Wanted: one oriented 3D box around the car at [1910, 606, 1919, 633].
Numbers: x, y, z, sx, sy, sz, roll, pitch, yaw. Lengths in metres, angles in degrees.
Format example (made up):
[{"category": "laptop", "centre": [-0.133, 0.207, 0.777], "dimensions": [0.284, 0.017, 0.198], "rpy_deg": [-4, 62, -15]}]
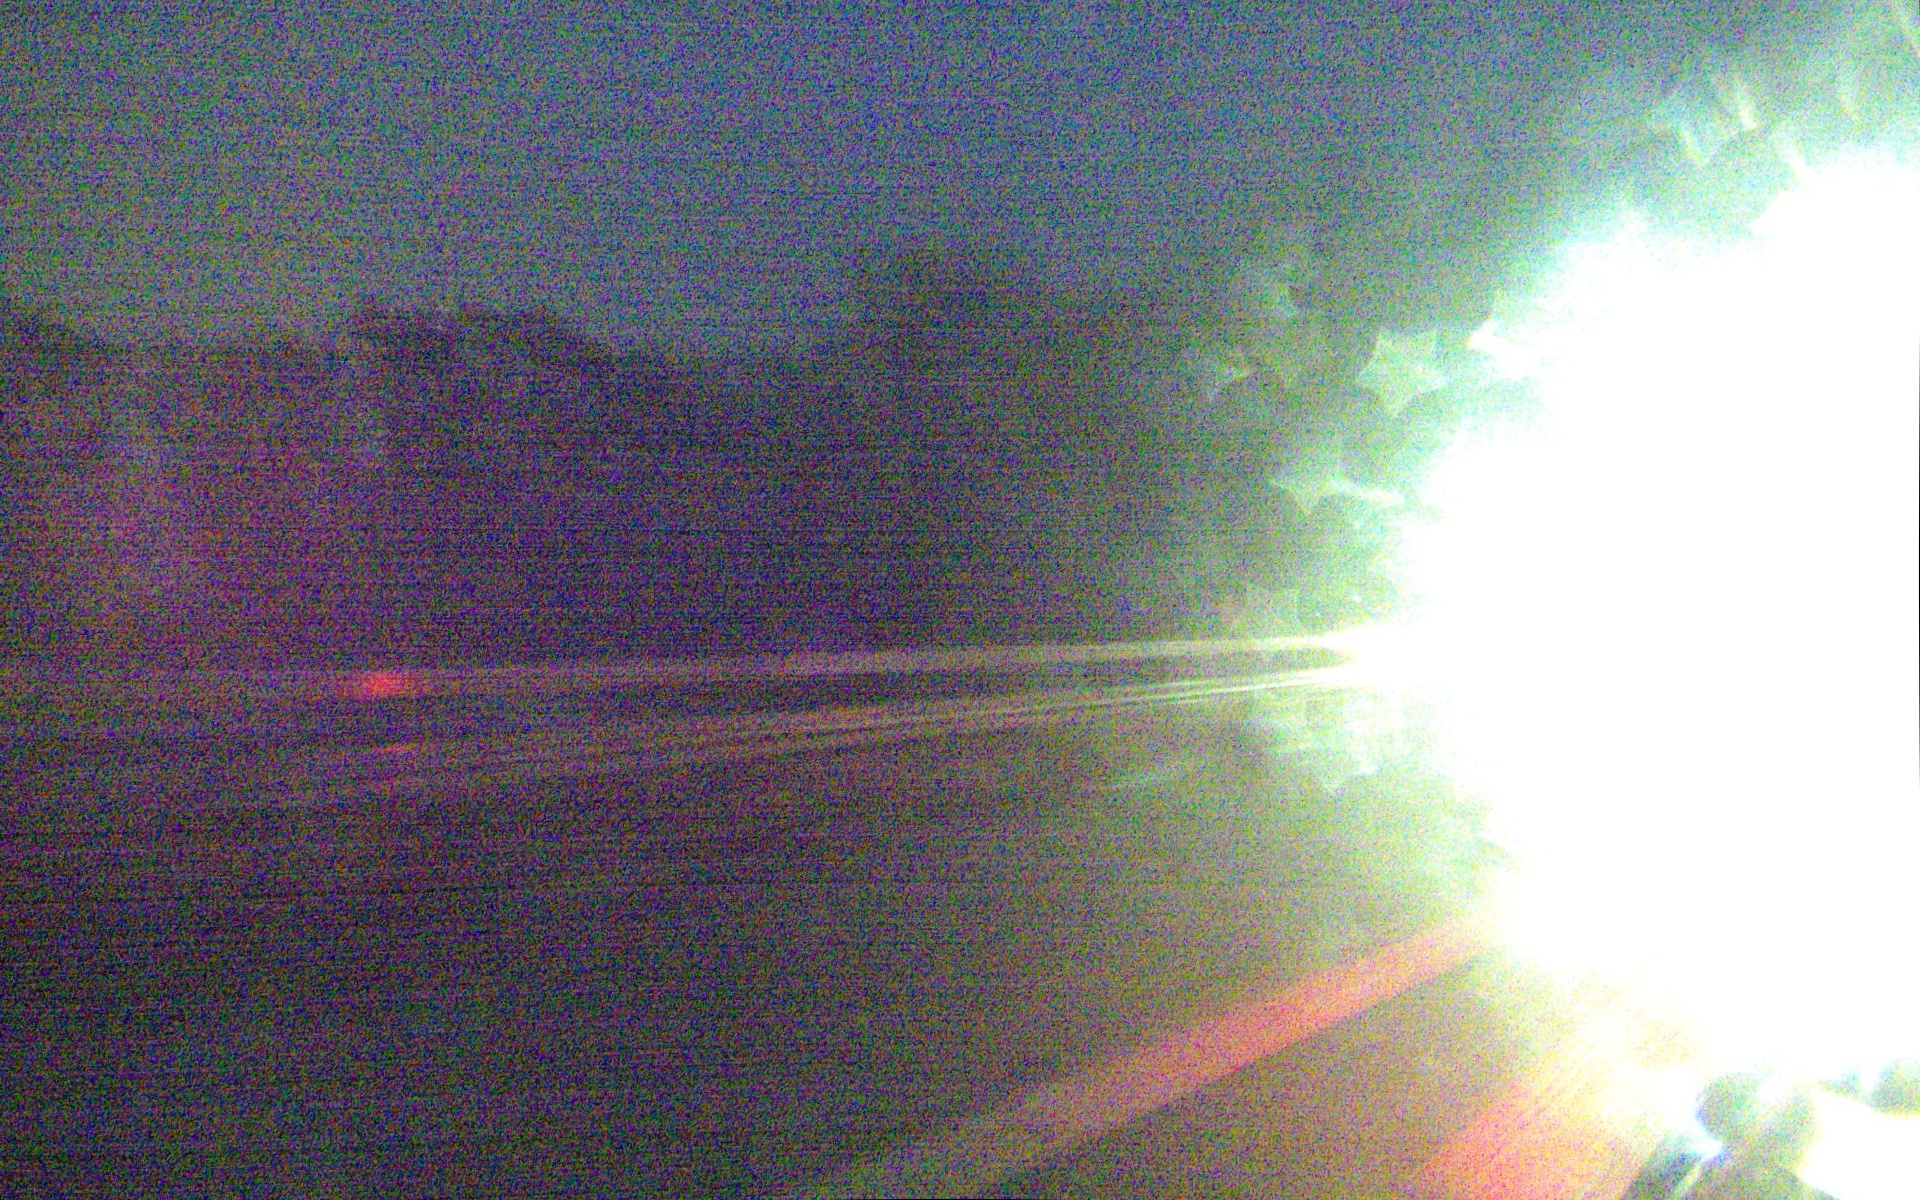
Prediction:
[{"category": "car", "centre": [56.098, 1.108, 58.295], "dimensions": [1.807, 1.505, 3.529], "rpy_deg": [-1, -1, 41]}]
